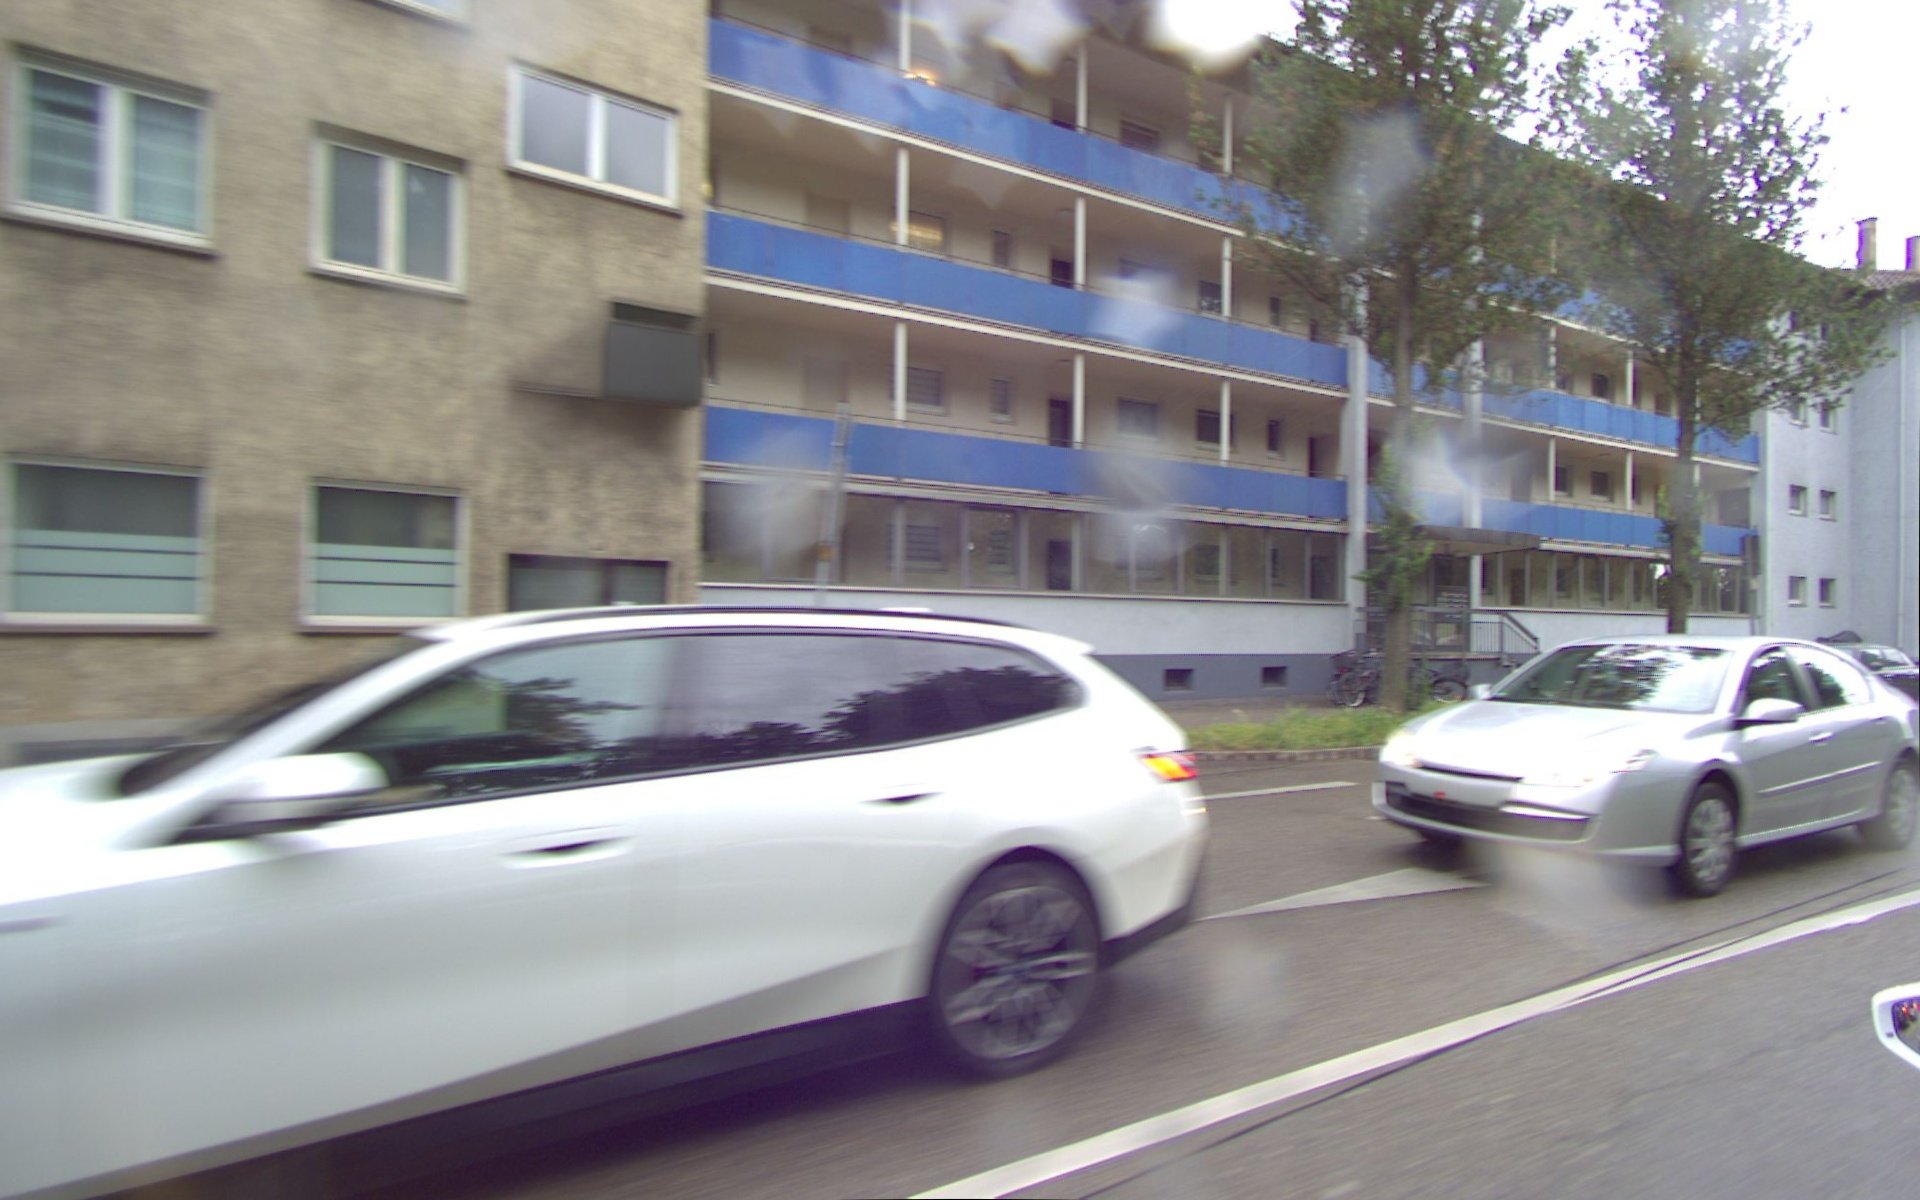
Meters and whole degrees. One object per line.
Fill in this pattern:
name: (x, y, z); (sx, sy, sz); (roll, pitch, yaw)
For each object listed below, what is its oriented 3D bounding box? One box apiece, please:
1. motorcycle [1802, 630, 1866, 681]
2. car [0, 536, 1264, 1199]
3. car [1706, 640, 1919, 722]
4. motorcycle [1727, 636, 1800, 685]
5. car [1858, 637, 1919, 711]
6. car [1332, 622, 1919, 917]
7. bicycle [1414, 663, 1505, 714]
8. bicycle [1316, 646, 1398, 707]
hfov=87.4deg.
motorcycle: (25.926, 1.632, 29.789); (2.209, 1.433, 0.672); (1, 1, -29)
car: (-1.423, 0.701, 3.247); (4.973, 1.536, 1.810); (2, -3, -32)
car: (16.313, 1.479, 18.960); (4.030, 1.421, 1.776); (1, -3, -23)
motorcycle: (22.051, 1.646, 27.566); (2.207, 1.271, 0.672); (1, 1, -27)
car: (21.244, 1.533, 20.932); (4.821, 1.458, 1.818); (2, -3, -22)
car: (4.750, 0.895, 6.841); (4.484, 1.444, 1.744); (1, -2, -31)
bicycle: (9.380, 1.638, 18.852); (1.720, 0.837, 0.664); (1, 2, -30)
bicycle: (7.154, 1.353, 18.052); (1.719, 1.037, 0.607); (2, -2, -39)
